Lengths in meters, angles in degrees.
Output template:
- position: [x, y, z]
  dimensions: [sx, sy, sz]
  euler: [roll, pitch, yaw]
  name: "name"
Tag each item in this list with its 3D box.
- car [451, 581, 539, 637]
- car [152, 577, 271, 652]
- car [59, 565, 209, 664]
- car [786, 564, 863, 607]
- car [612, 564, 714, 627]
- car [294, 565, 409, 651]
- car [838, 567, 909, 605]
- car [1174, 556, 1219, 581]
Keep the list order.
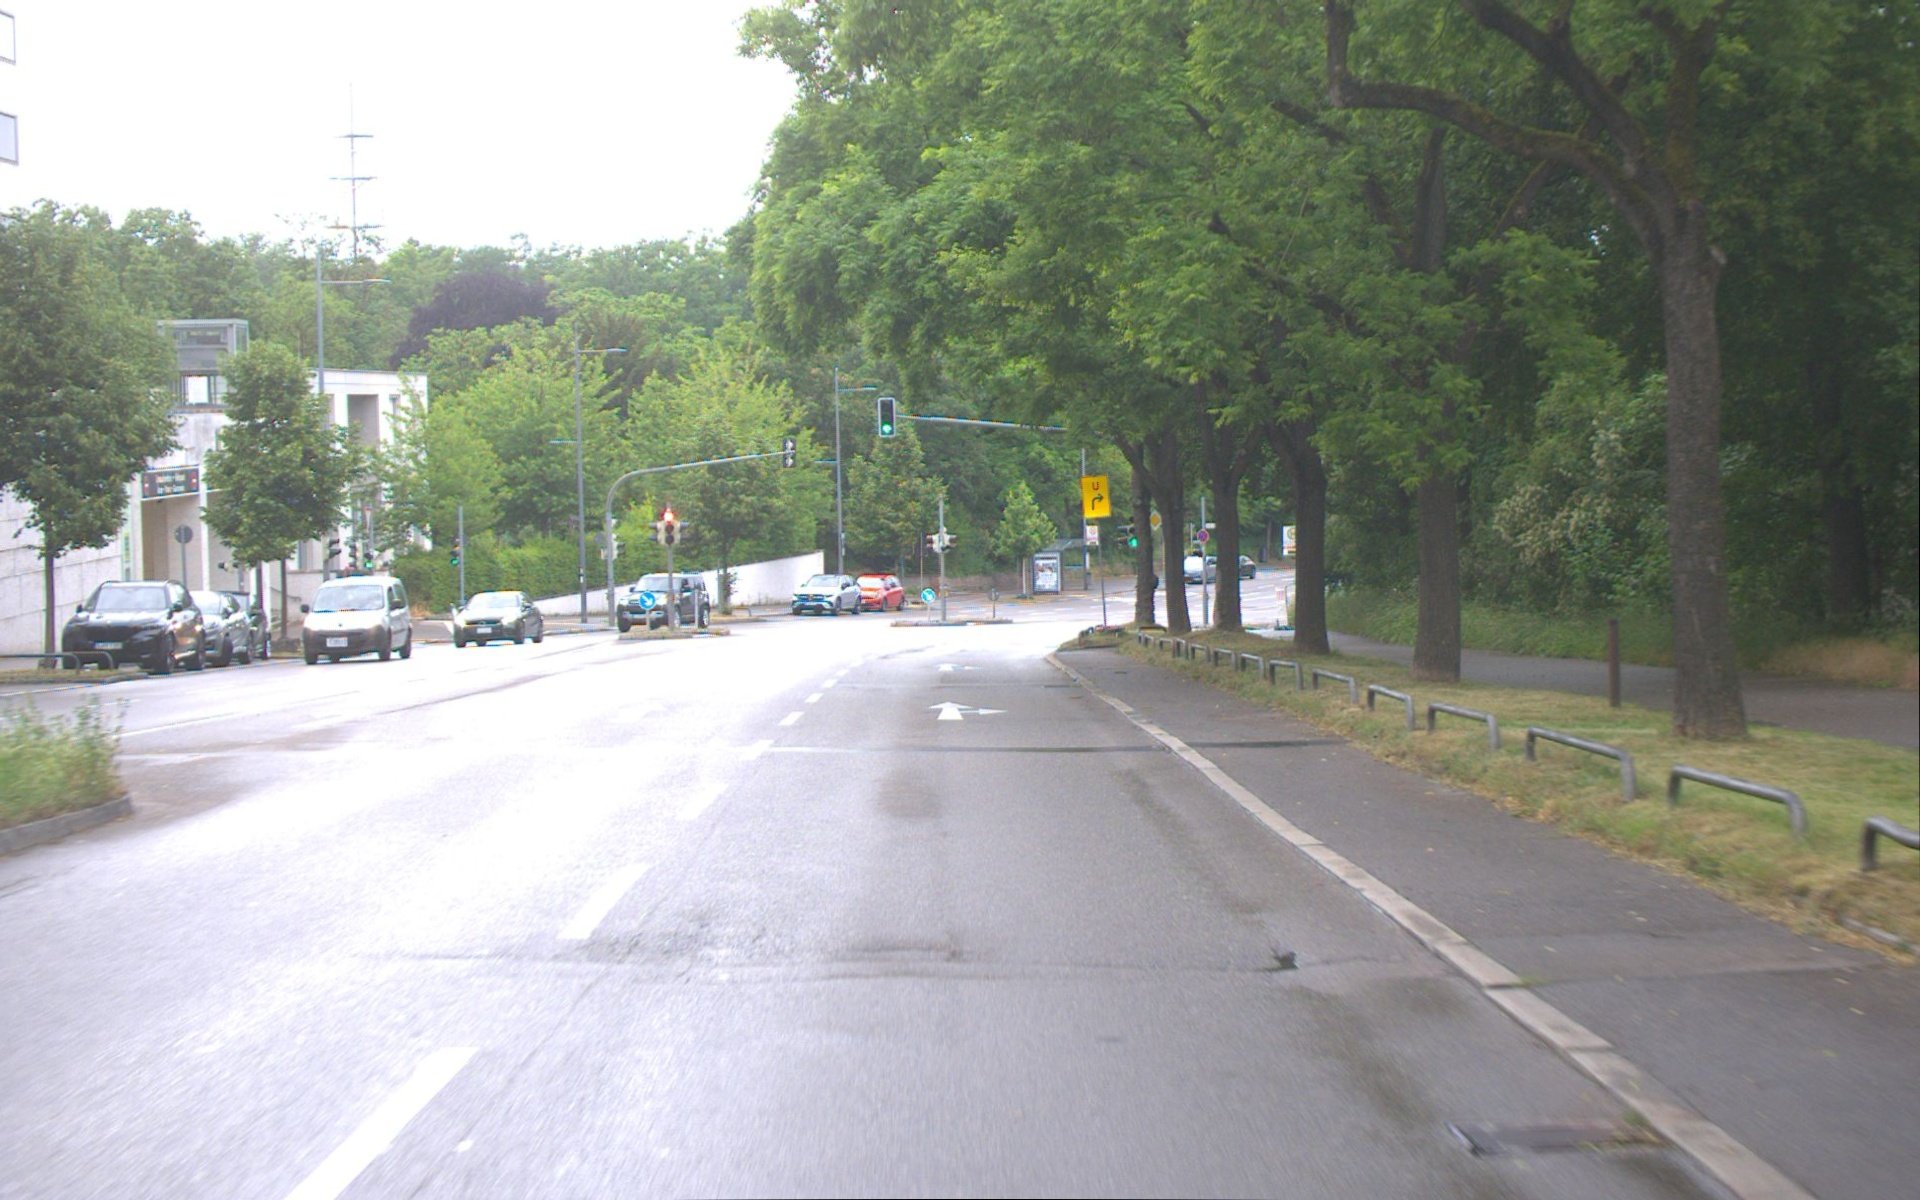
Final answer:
- position: [-12.406, 0.228, 91.924]
  dimensions: [1.770, 1.376, 4.190]
  euler: [-3, 0, 0]
  name: "car"
- position: [-15.454, 0.275, 71.149]
  dimensions: [1.679, 1.510, 3.710]
  euler: [0, 0, 0]
  name: "car"
- position: [-15.652, 0.259, 65.350]
  dimensions: [1.856, 1.775, 4.597]
  euler: [-1, 0, -2]
  name: "car"
- position: [-5.536, -0.625, 140.780]
  dimensions: [1.854, 1.634, 4.090]
  euler: [2, 2, 17]
  name: "car"
- position: [-9.806, -0.161, 113.881]
  dimensions: [1.921, 1.851, 4.504]
  euler: [-5, 0, 13]
  name: "car"
- position: [-12.877, 0.139, 72.956]
  dimensions: [1.710, 1.740, 4.338]
  euler: [-1, 1, -1]
  name: "car"
- position: [-3.710, -0.616, 147.972]
  dimensions: [1.876, 1.569, 4.220]
  euler: [2, 1, 15]
  name: "car"
- position: [13.780, -1.837, 200.057]
  dimensions: [1.714, 1.455, 3.747]
  euler: [0, 0, 19]
  name: "car"
